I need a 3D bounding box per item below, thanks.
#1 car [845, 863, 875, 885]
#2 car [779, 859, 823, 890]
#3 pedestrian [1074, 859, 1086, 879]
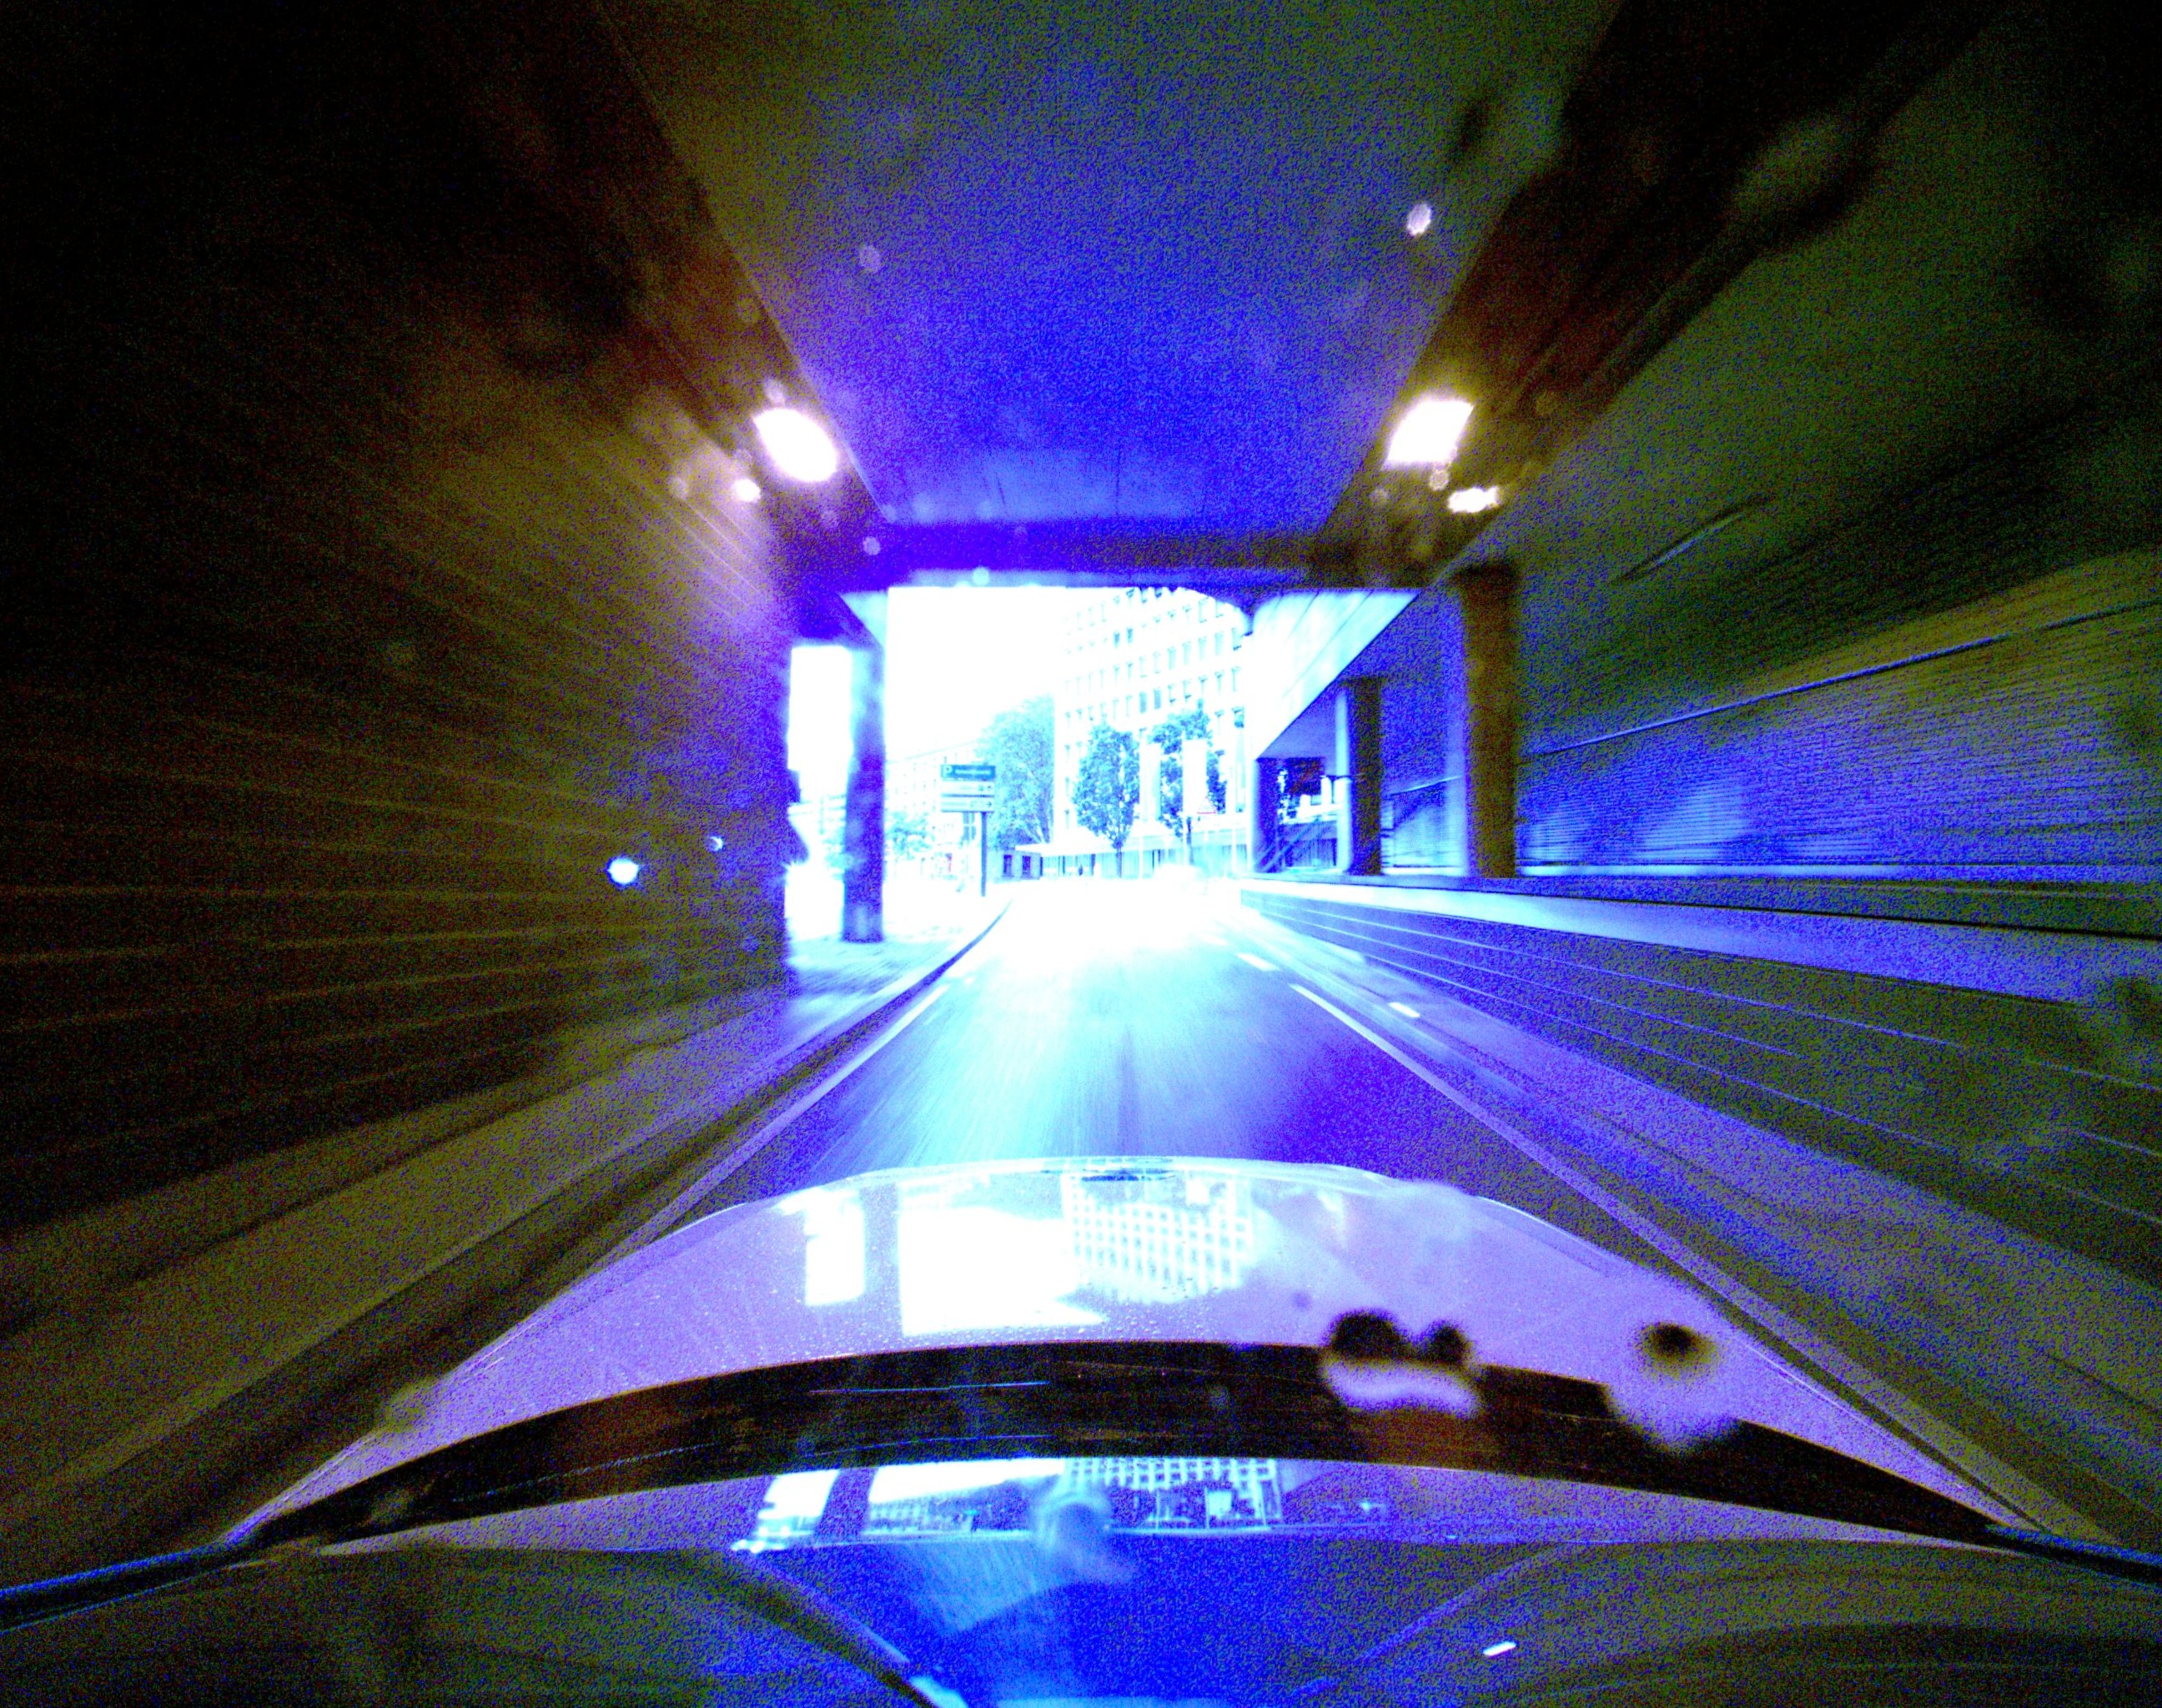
[{"bbox_3d":[-17.068,1.523,62.864,1.851,1.588,4.359,-1,0,-20],"label":"car"},{"bbox_3d":[-18.623,1.338,54.020,1.849,1.921,4.596,-1,0,-31],"label":"car"},{"bbox_3d":[-0.100,1.318,73.136,0.784,1.772,0.854,3,-3,-33],"label":"pedestrian"}]
